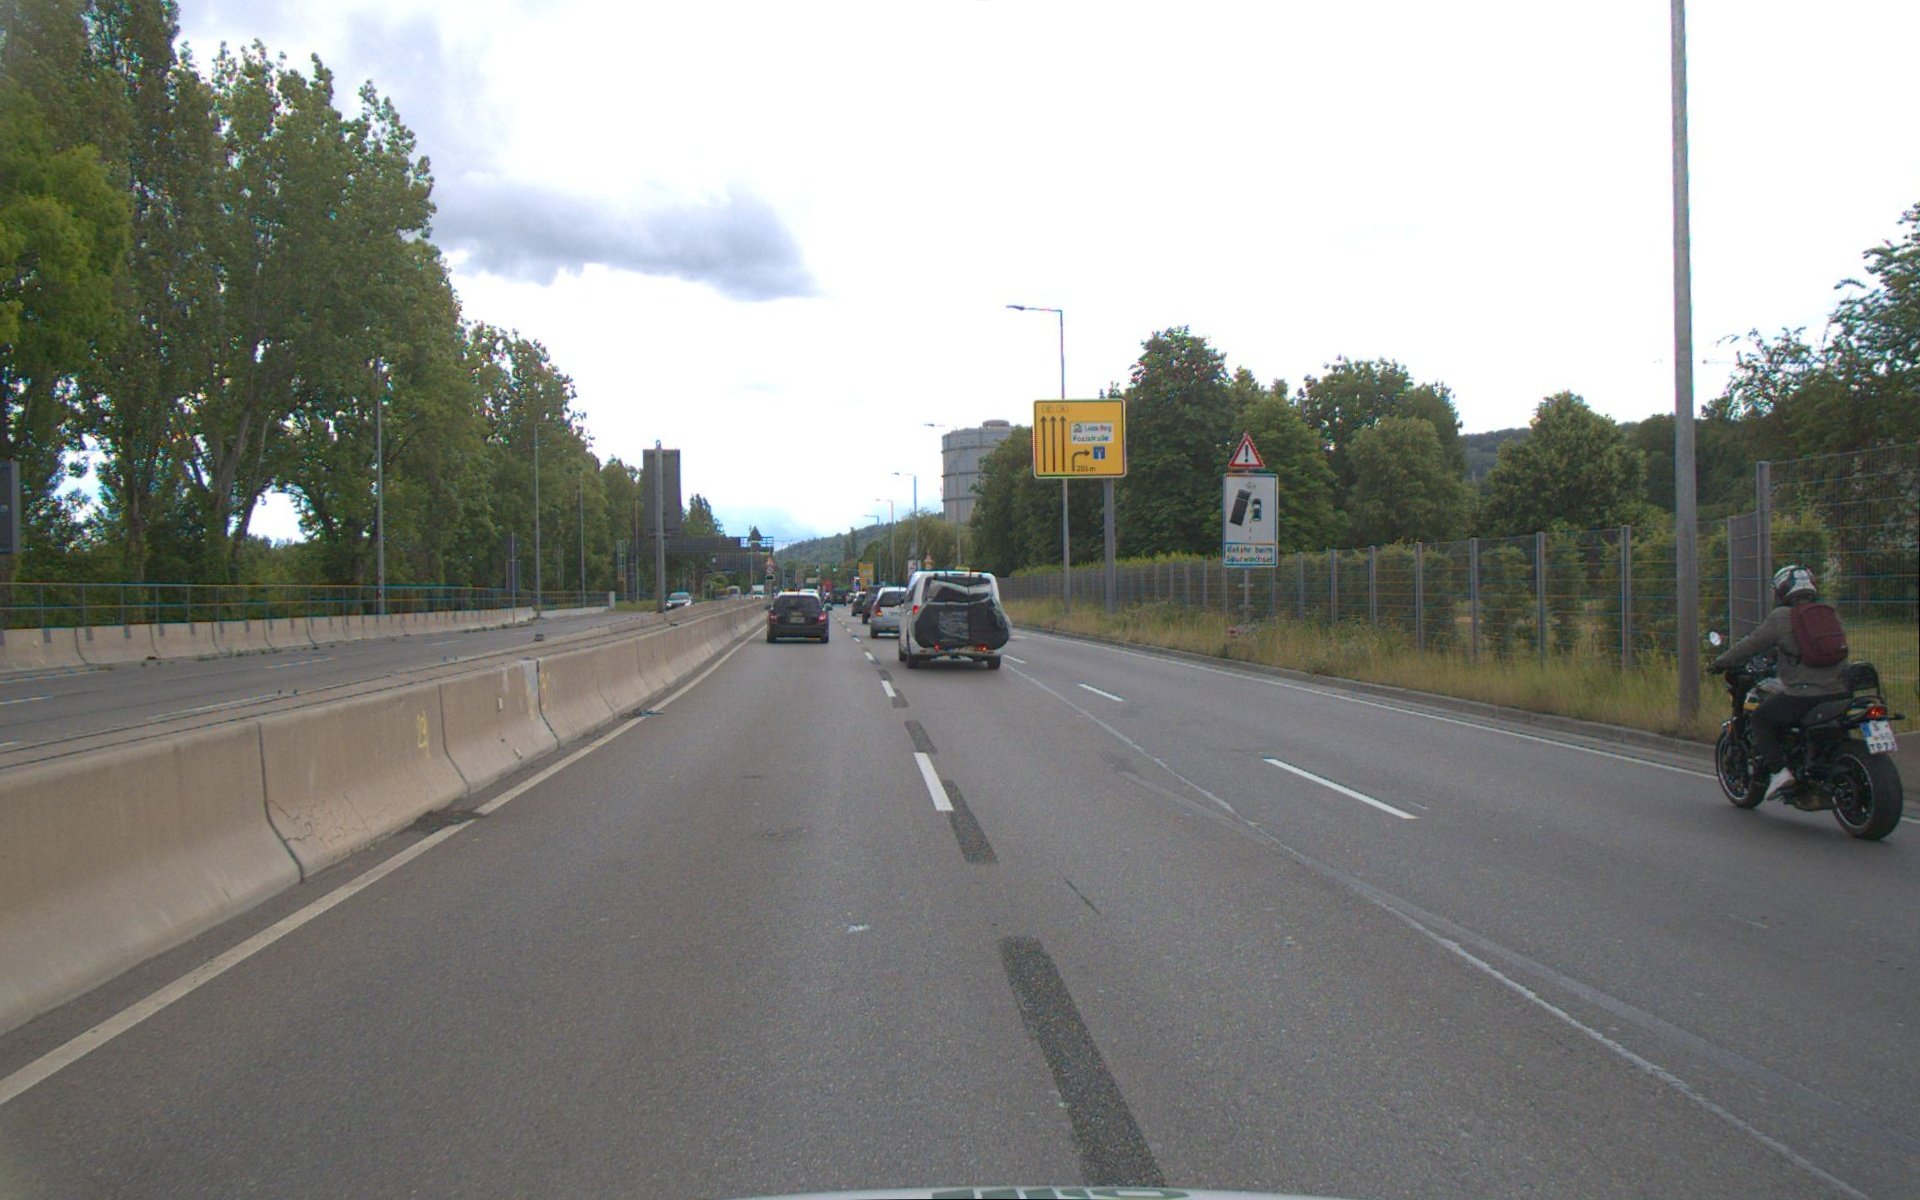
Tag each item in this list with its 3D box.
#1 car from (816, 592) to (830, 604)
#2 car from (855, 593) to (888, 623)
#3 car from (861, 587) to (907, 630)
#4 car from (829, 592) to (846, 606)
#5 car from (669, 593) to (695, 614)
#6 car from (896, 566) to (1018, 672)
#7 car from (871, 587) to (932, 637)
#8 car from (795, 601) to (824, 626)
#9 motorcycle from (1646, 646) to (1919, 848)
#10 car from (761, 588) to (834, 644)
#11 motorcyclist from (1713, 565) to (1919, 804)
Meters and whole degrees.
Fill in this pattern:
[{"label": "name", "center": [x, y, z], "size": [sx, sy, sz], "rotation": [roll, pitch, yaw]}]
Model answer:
[{"label": "car", "center": [-19.680, -0.291, 237.533], "size": [1.956, 1.683, 3.994], "rotation": [0, 0, -7]}, {"label": "car", "center": [-5.346, 0.451, 99.750], "size": [1.954, 1.698, 3.997], "rotation": [2, 0, -3]}, {"label": "car", "center": [-3.483, 0.349, 75.077], "size": [1.954, 1.892, 3.997], "rotation": [0, 0, -4]}, {"label": "car", "center": [-14.757, -0.104, 198.890], "size": [1.955, 1.683, 3.996], "rotation": [0, 0, -5]}, {"label": "car", "center": [-18.808, 0.197, 112.034], "size": [1.701, 1.398, 3.609], "rotation": [0, 0, -9]}, {"label": "car", "center": [-0.156, 0.335, 33.169], "size": [1.954, 1.891, 5.635], "rotation": [2, 0, -5]}, {"label": "car", "center": [-1.919, 0.363, 53.022], "size": [1.882, 1.515, 4.063], "rotation": [0, 0, -3]}, {"label": "car", "center": [-10.567, 0.955, 115.913], "size": [1.955, 1.702, 3.995], "rotation": [1, -1, -5]}, {"label": "motorcycle", "center": [5.666, 0.904, 11.113], "size": [0.729, 1.102, 2.660], "rotation": [-1, 0, -7]}, {"label": "car", "center": [-4.557, 0.414, 46.872], "size": [1.778, 1.459, 4.063], "rotation": [-2, 1, -2]}, {"label": "motorcyclist", "center": [5.677, 0.529, 10.937], "size": [0.895, 1.502, 0.965], "rotation": [0, 0, -7]}]
